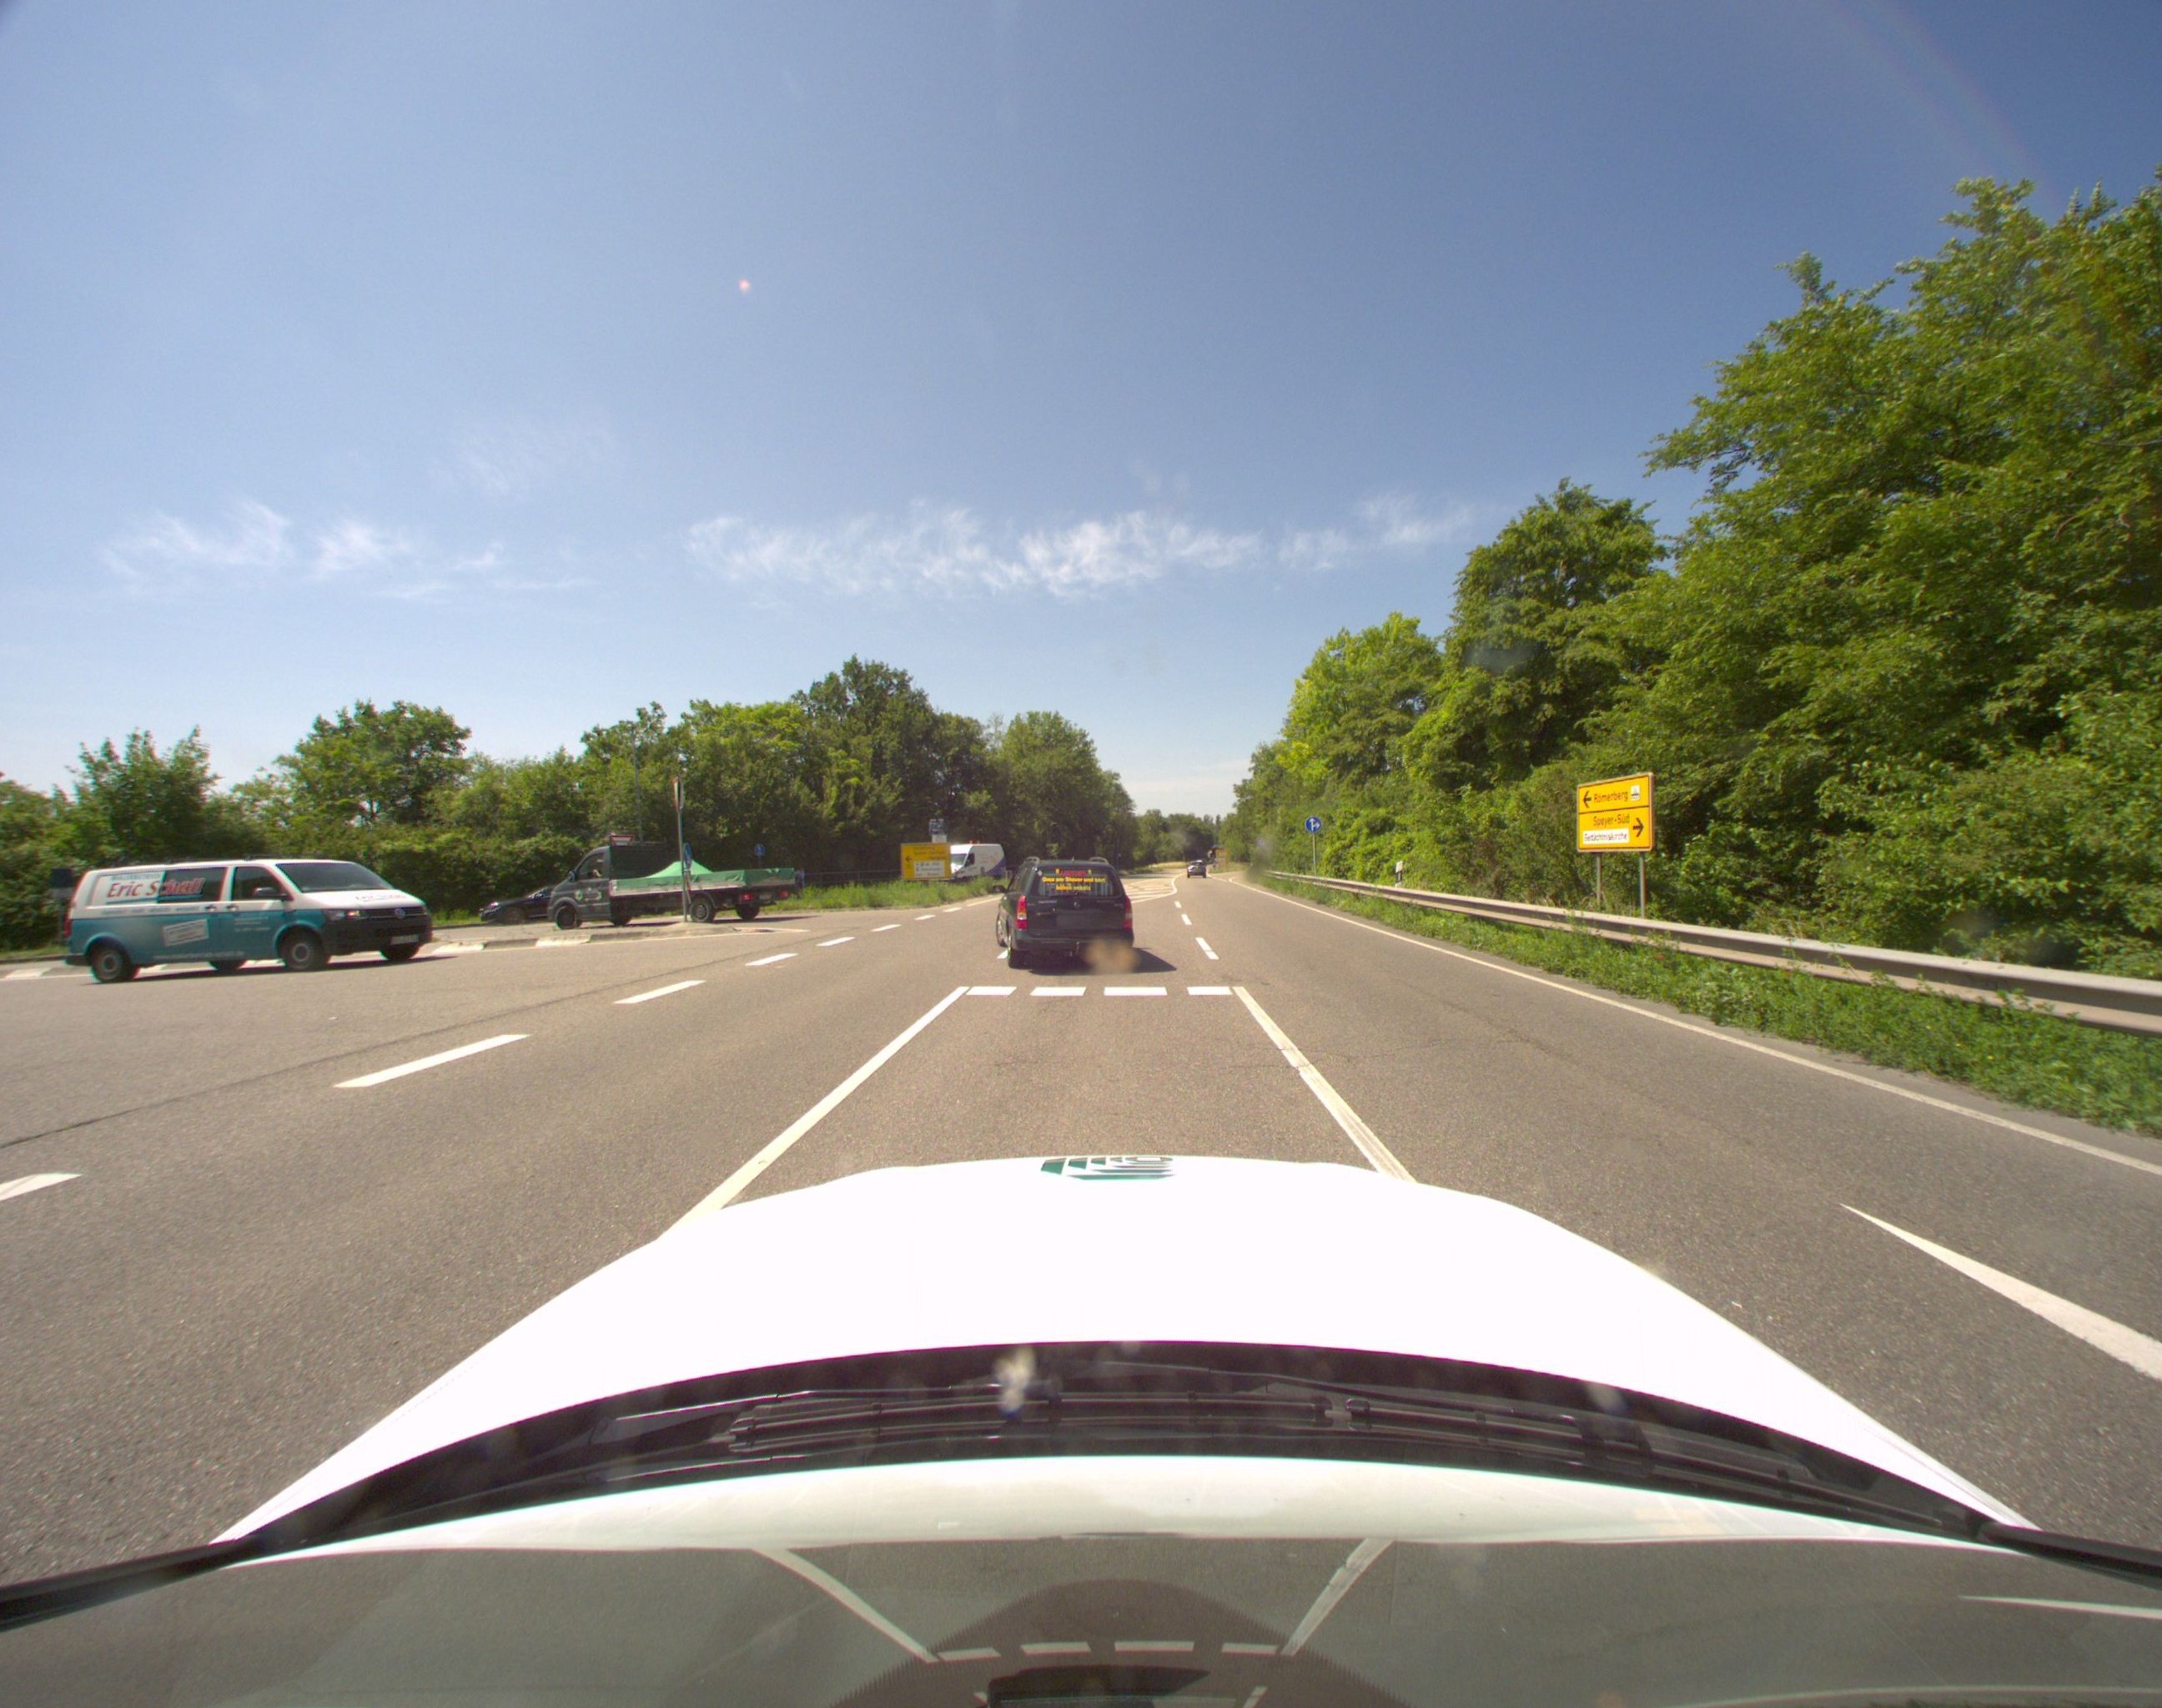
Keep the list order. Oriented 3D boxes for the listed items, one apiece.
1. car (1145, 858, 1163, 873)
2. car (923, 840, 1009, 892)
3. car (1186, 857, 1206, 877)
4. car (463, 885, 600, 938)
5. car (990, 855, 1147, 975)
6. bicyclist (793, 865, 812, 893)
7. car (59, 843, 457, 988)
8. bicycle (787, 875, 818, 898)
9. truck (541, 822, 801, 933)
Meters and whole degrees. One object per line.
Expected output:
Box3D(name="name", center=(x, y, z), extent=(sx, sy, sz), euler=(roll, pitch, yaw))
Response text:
Box3D(name="car", center=(16.431, 2.671, 183.861), extent=(2.003, 3.226, 4.769), euler=(-1, 0, -25))
Box3D(name="car", center=(-6.570, 0.663, 47.264), extent=(2.086, 2.850, 6.045), euler=(-1, -1, 23))
Box3D(name="car", center=(10.748, 1.190, 76.237), extent=(1.833, 1.684, 4.008), euler=(-1, 0, 7))
Box3D(name="car", center=(-20.016, 2.079, 29.796), extent=(4.017, 1.662, 1.659), euler=(-2, -3, -35))
Box3D(name="car", center=(-0.349, 0.759, 12.178), extent=(1.721, 1.457, 3.783), euler=(-1, 0, -11))
Box3D(name="bicyclist", center=(-14.193, 1.277, 41.517), extent=(0.681, 1.363, 0.613), euler=(-1, 0, 36))
Box3D(name="car", center=(-14.321, 1.022, 14.358), extent=(5.146, 2.027, 2.003), euler=(-4, 0, 5))
Box3D(name="bicycle", center=(-14.194, 1.648, 41.510), extent=(0.431, 1.113, 1.491), euler=(-2, 0, 36))
Box3D(name="truck", center=(-11.348, 0.685, 22.586), extent=(6.567, 2.565, 2.155), euler=(-4, -1, 15))
